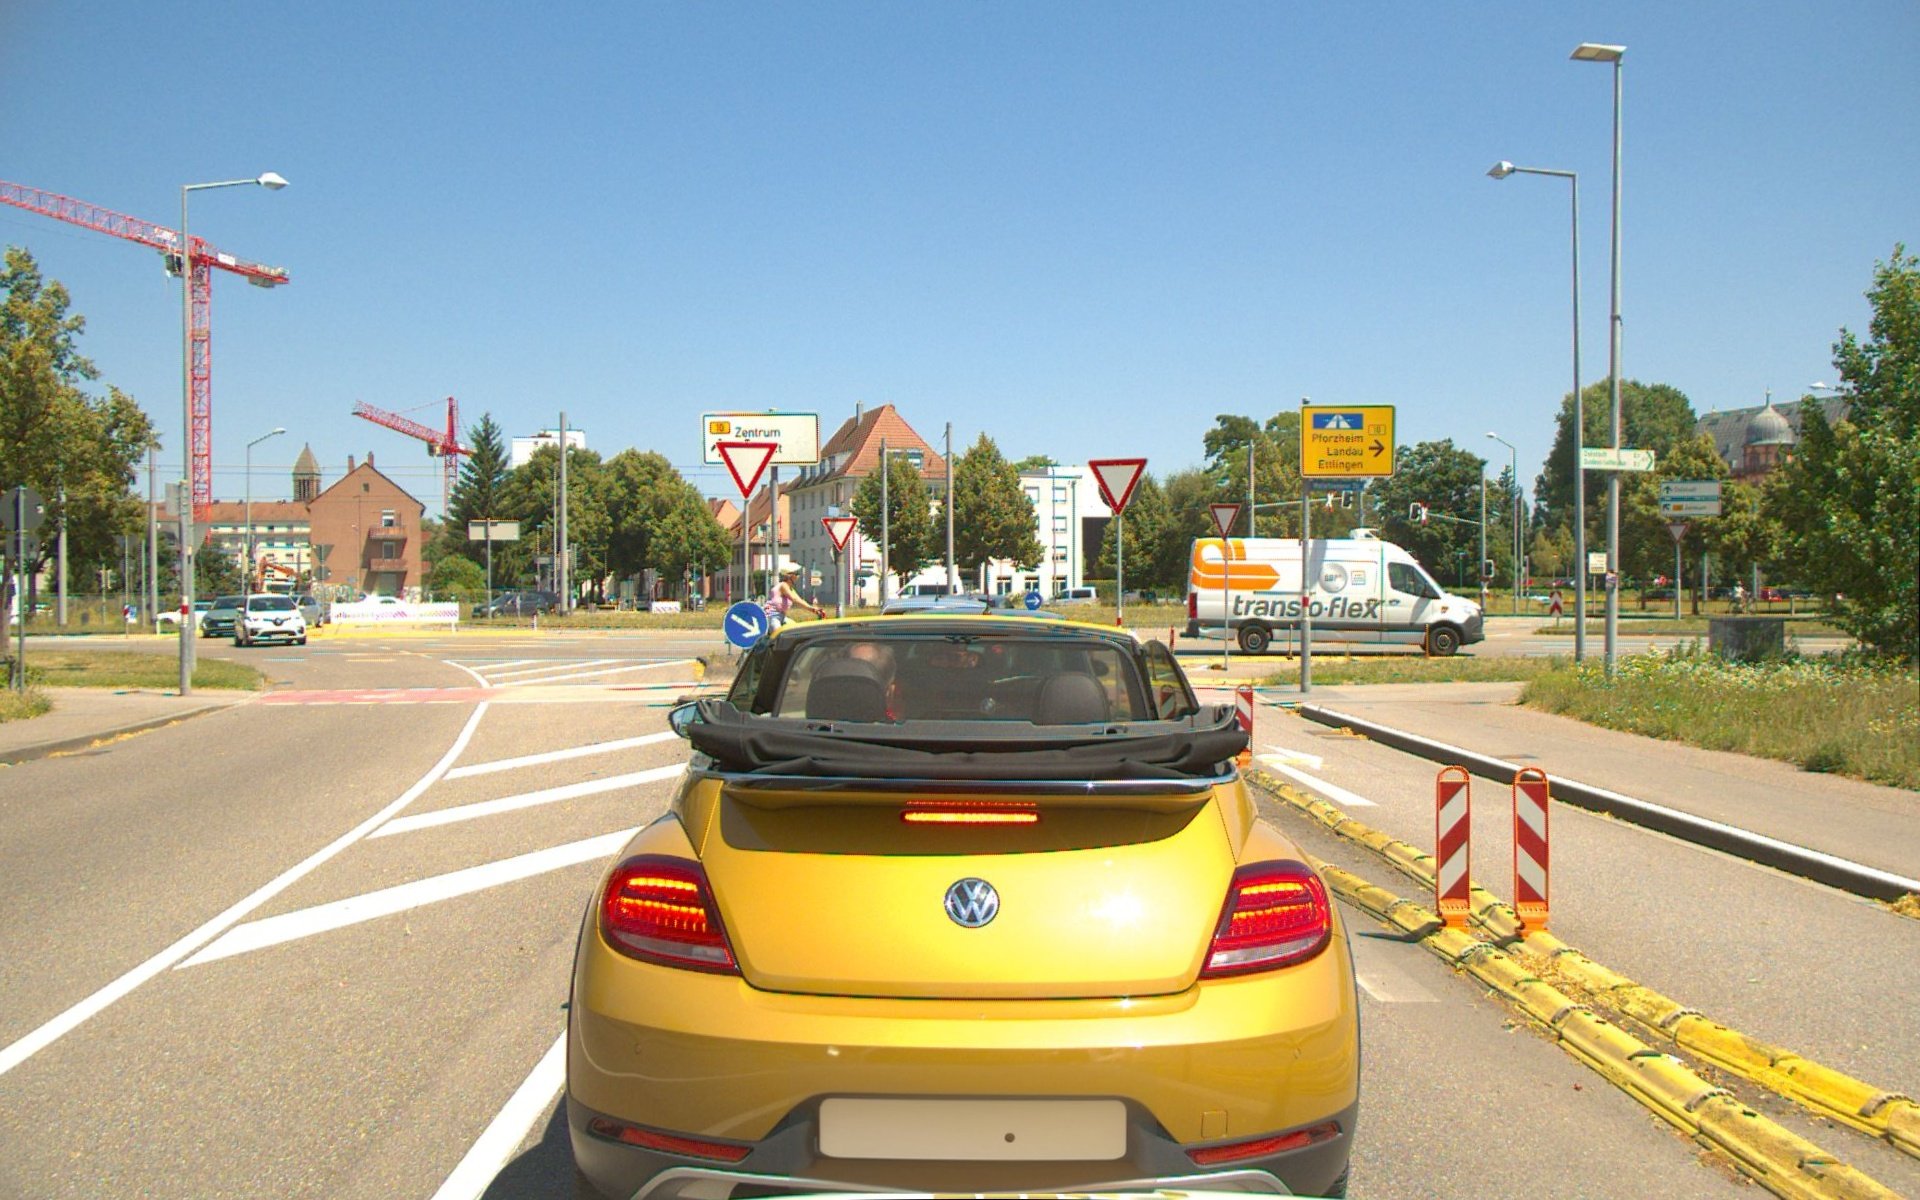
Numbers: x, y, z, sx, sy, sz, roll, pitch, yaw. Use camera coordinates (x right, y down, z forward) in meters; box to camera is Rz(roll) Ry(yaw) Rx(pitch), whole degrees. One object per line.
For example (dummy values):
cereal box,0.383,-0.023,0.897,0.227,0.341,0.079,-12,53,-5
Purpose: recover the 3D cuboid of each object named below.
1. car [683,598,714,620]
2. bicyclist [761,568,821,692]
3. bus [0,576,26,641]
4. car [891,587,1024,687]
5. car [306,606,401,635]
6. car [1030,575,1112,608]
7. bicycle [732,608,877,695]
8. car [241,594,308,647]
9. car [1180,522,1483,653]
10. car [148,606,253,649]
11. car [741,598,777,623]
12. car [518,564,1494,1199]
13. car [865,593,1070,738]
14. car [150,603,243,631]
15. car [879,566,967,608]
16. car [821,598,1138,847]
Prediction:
car,-22.152,0.716,140.134,1.856,1.803,3.977,1,0,-19
bicyclist,-2.474,0.434,24.234,0.656,1.783,0.592,-1,1,20
bus,-50.878,0.370,82.543,7.105,3.228,2.260,1,0,-1
car,-0.063,0.554,27.617,2.023,1.506,4.542,-1,0,-1
car,-31.075,1.068,84.783,4.291,1.395,1.727,1,0,-40
car,7.369,-0.566,109.668,5.197,2.107,1.996,1,0,9
bicycle,-2.289,0.744,24.281,2.049,1.242,0.634,-1,0,22
car,-21.021,0.600,50.633,1.753,1.554,3.842,-1,0,-25
car,8.565,-0.296,38.636,6.715,2.877,2.002,1,0,8
car,-26.117,0.927,57.033,1.711,1.395,4.329,1,0,-2
car,-15.080,0.770,124.230,1.856,1.803,3.977,1,0,-19
car,0.056,0.712,5.083,1.729,1.507,4.257,1,0,-1
car,0.046,0.662,18.575,2.023,1.406,4.257,1,0,-1
car,-39.314,0.886,85.259,4.262,1.395,1.738,1,0,-25
car,-2.242,-0.789,101.298,5.200,2.439,1.995,1,0,2
car,0.083,0.702,11.683,1.814,1.389,4.257,-1,0,-1
